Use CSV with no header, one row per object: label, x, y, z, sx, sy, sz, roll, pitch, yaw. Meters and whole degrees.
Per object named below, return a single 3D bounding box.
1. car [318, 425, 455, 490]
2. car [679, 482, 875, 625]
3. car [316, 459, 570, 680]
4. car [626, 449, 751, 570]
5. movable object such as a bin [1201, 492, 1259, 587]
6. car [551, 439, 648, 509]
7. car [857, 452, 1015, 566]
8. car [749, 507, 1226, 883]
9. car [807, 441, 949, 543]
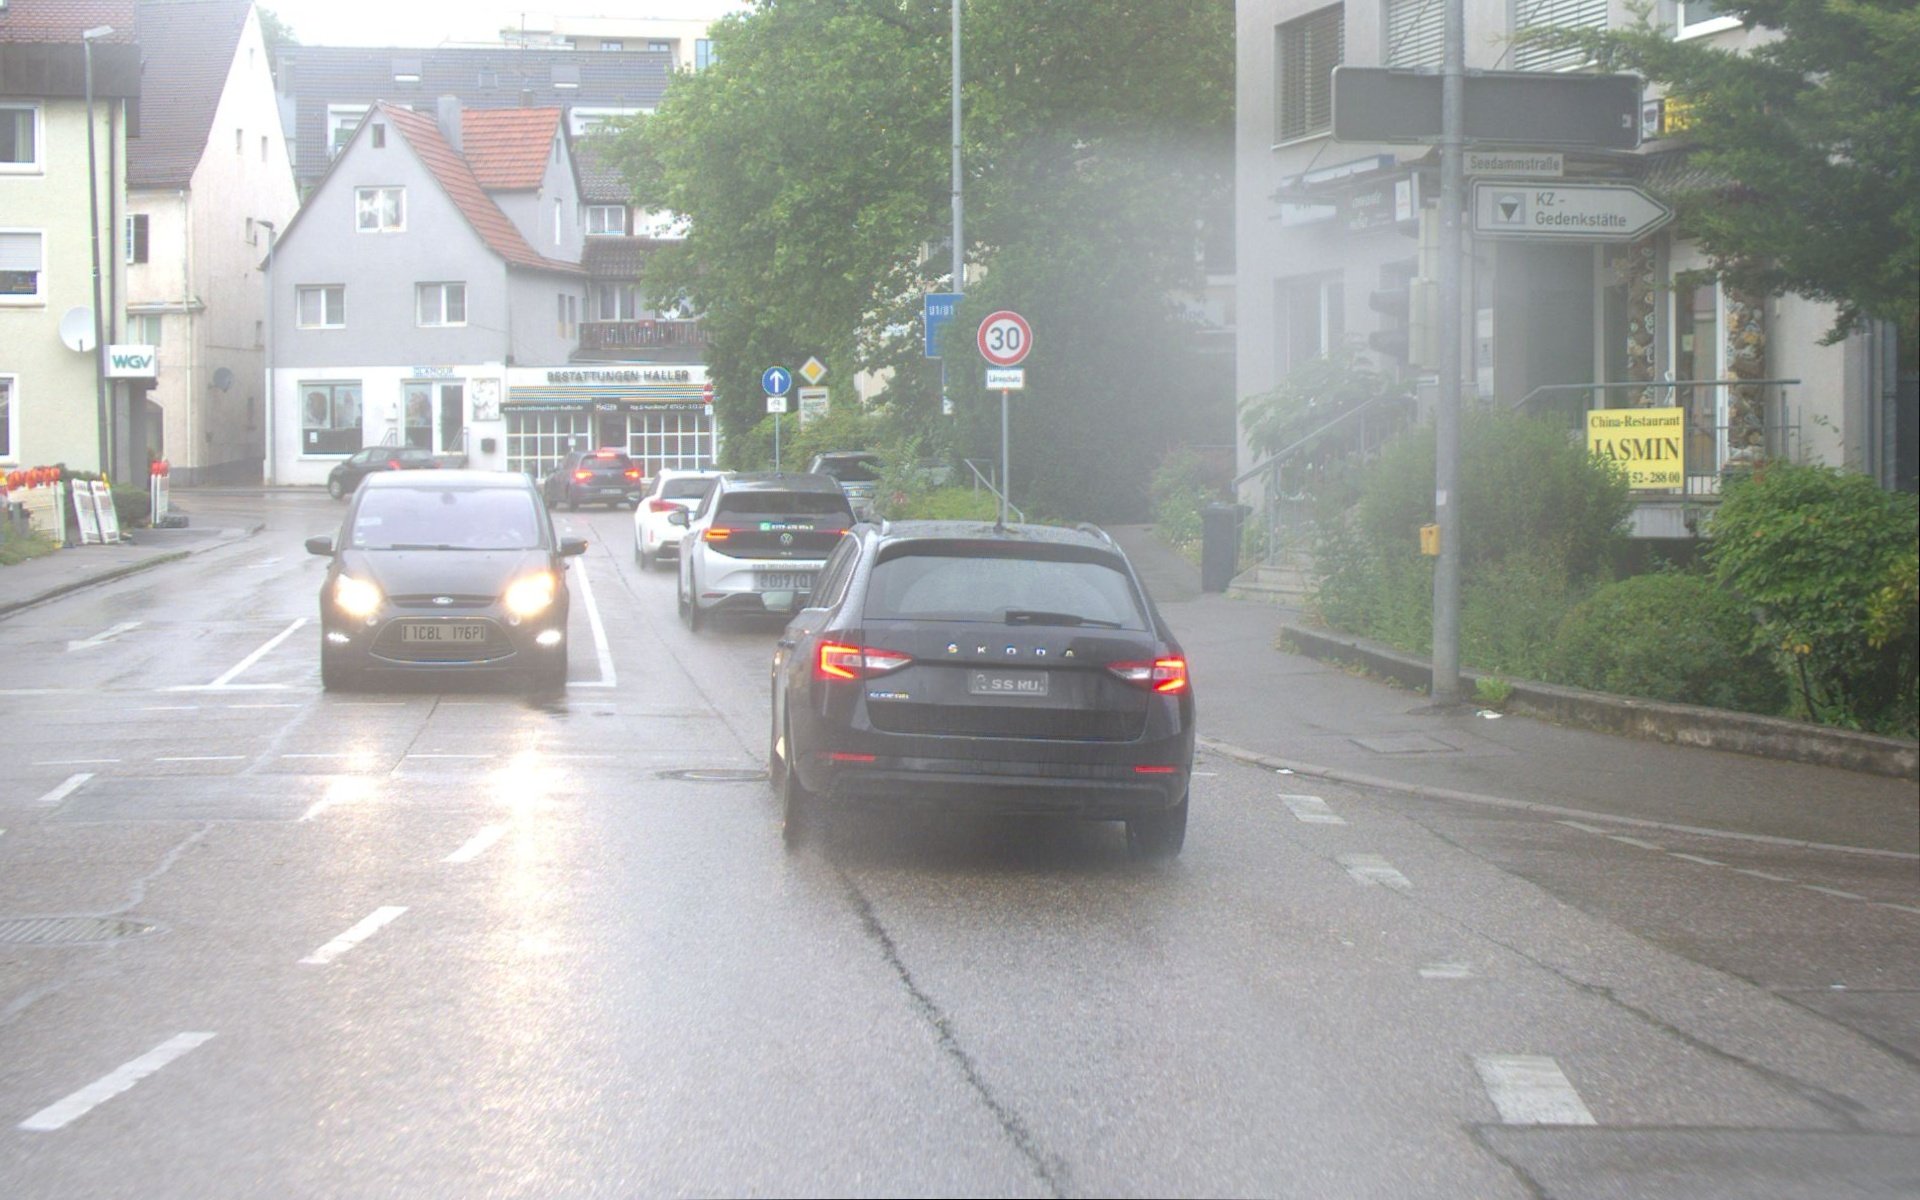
car,-15.866,-3.927,95.011,3.686,1.676,1.894,0,2,44
car,-1.898,-0.505,34.619,1.817,1.355,3.991,0,2,-5
car,-3.989,-0.301,26.773,1.784,1.557,4.403,1,2,-8
car,-4.015,-1.297,50.648,1.727,1.585,4.184,1,-1,-5
movable object such as a bin,2.883,-0.645,36.701,0.512,0.942,0.602,3,6,11
car,-8.773,-3.043,83.411,1.892,1.585,3.689,-1,1,-13
car,-0.403,-1.405,52.256,1.852,1.635,3.539,-2,2,-9
car,-0.009,0.344,16.484,1.781,1.478,4.247,2,2,-6
car,-1.422,-1.833,58.070,1.852,1.635,3.872,-2,2,-9
